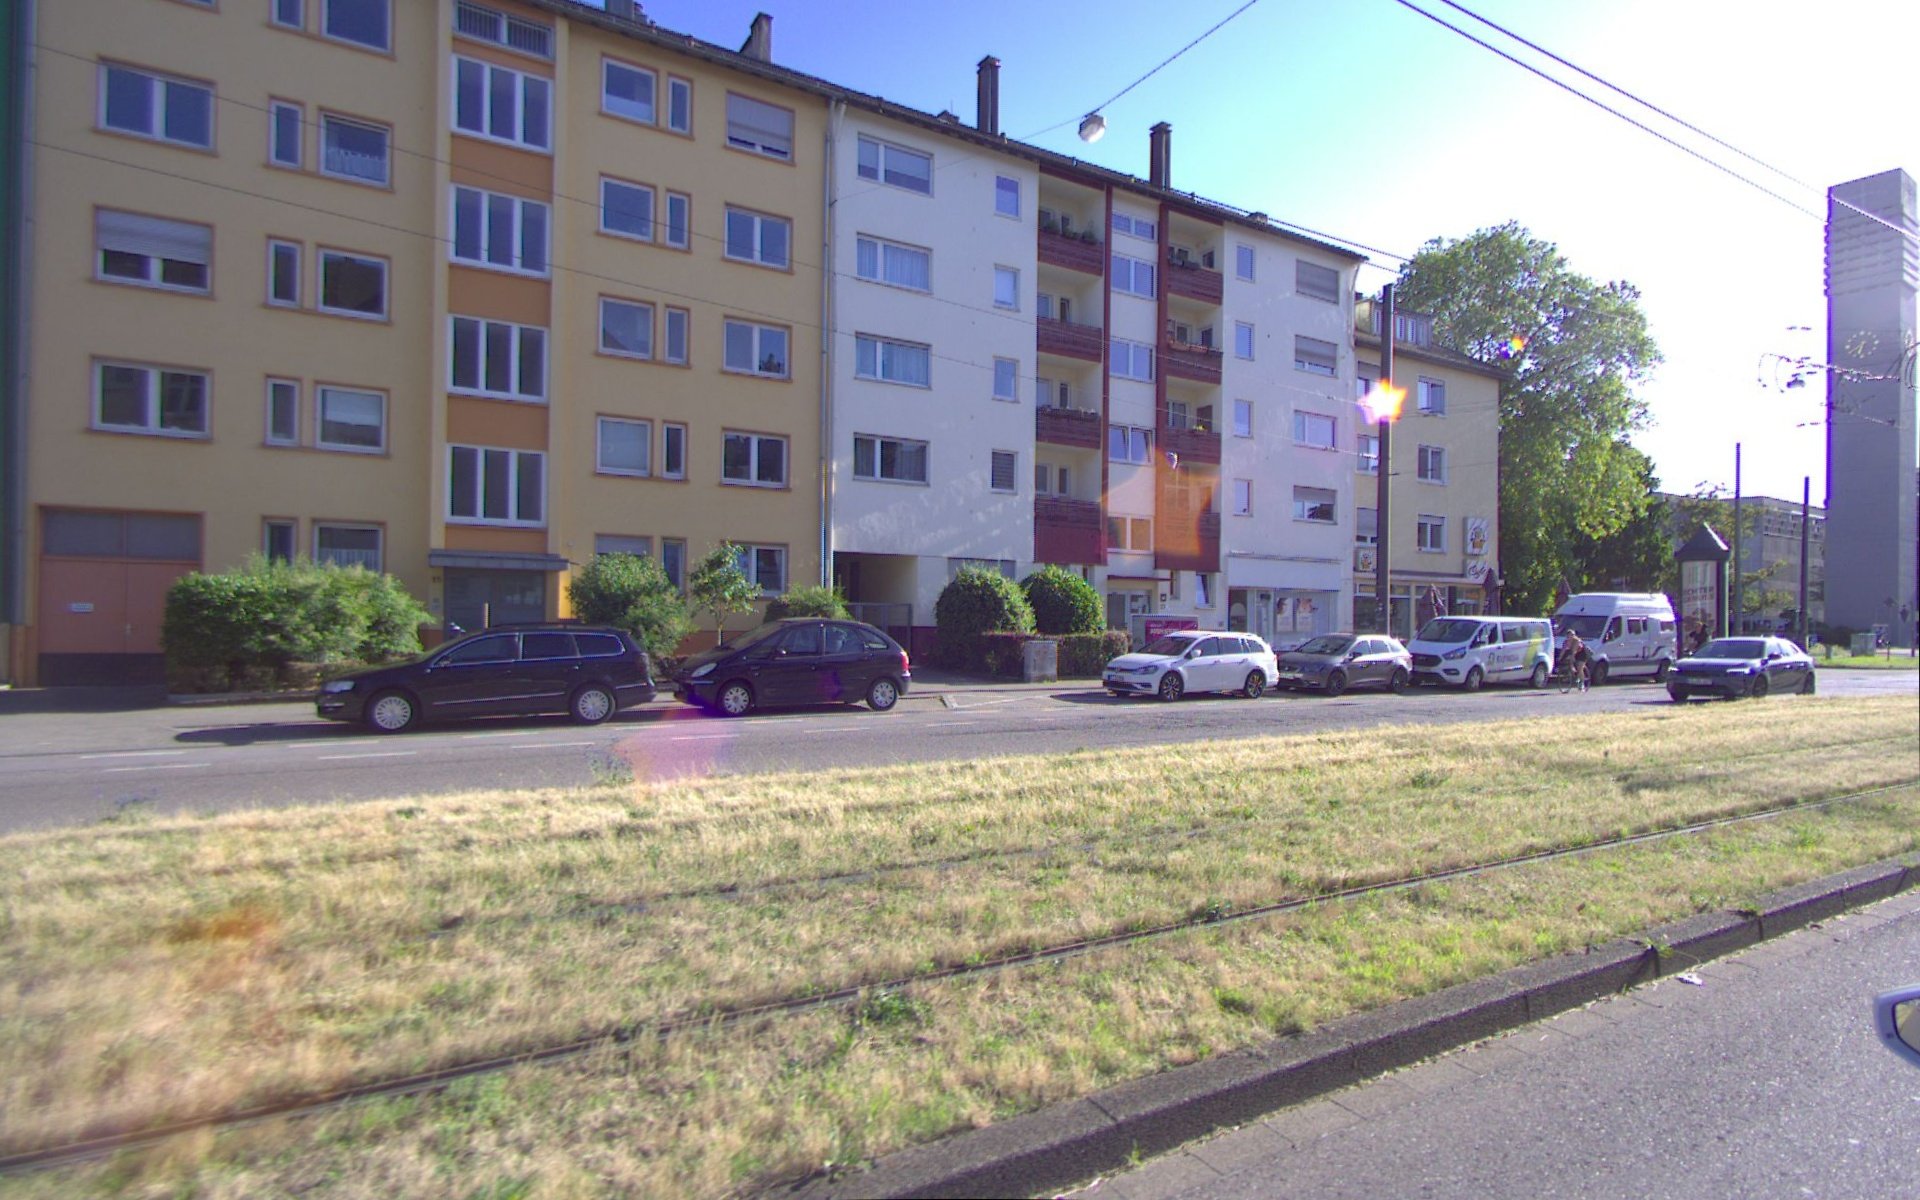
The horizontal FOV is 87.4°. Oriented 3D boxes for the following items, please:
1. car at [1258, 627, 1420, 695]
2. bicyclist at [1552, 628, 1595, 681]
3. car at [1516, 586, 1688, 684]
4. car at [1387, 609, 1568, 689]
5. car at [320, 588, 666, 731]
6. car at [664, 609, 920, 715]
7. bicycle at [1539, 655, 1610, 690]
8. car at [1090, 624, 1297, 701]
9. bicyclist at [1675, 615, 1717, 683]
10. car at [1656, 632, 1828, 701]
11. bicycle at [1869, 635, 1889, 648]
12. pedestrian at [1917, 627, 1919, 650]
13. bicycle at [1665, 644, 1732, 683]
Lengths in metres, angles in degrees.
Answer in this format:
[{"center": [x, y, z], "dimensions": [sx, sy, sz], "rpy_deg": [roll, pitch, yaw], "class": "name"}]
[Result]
[{"center": [9.683, 1.503, 25.578], "dimensions": [4.281, 1.535, 1.684], "rpy_deg": [2, 0, -34], "class": "car"}, {"center": [16.401, 1.447, 26.853], "dimensions": [0.640, 1.402, 0.769], "rpy_deg": [1, -1, -30], "class": "bicyclist"}, {"center": [20.691, 1.112, 32.298], "dimensions": [6.154, 2.907, 2.022], "rpy_deg": [1, 0, -30], "class": "car"}, {"center": [14.847, 1.360, 28.754], "dimensions": [5.307, 2.048, 2.022], "rpy_deg": [2, 1, -30], "class": "car"}, {"center": [-7.082, 0.837, 15.467], "dimensions": [4.556, 1.862, 1.983], "rpy_deg": [1, 1, -31], "class": "car"}, {"center": [-3.000, 1.047, 18.092], "dimensions": [4.103, 1.629, 1.983], "rpy_deg": [1, 1, -31], "class": "car"}, {"center": [16.462, 1.935, 26.890], "dimensions": [2.045, 0.891, 0.764], "rpy_deg": [1, -3, -31], "class": "bicycle"}, {"center": [5.358, 1.362, 22.890], "dimensions": [4.653, 1.511, 1.881], "rpy_deg": [1, 1, -33], "class": "car"}, {"center": [22.730, 1.500, 31.018], "dimensions": [0.640, 2.041, 0.769], "rpy_deg": [1, 2, -30], "class": "bicyclist"}, {"center": [18.056, 1.489, 23.167], "dimensions": [4.167, 1.467, 1.687], "rpy_deg": [1, -2, -30], "class": "car"}, {"center": [74.478, 3.371, 81.399], "dimensions": [1.659, 1.060, 0.489], "rpy_deg": [2, 1, -24], "class": "bicycle"}, {"center": [72.085, 2.886, 75.065], "dimensions": [0.735, 1.689, 0.442], "rpy_deg": [2, 1, -21], "class": "pedestrian"}, {"center": [22.775, 1.931, 30.968], "dimensions": [2.446, 1.161, 0.764], "rpy_deg": [1, -3, -31], "class": "bicycle"}]
